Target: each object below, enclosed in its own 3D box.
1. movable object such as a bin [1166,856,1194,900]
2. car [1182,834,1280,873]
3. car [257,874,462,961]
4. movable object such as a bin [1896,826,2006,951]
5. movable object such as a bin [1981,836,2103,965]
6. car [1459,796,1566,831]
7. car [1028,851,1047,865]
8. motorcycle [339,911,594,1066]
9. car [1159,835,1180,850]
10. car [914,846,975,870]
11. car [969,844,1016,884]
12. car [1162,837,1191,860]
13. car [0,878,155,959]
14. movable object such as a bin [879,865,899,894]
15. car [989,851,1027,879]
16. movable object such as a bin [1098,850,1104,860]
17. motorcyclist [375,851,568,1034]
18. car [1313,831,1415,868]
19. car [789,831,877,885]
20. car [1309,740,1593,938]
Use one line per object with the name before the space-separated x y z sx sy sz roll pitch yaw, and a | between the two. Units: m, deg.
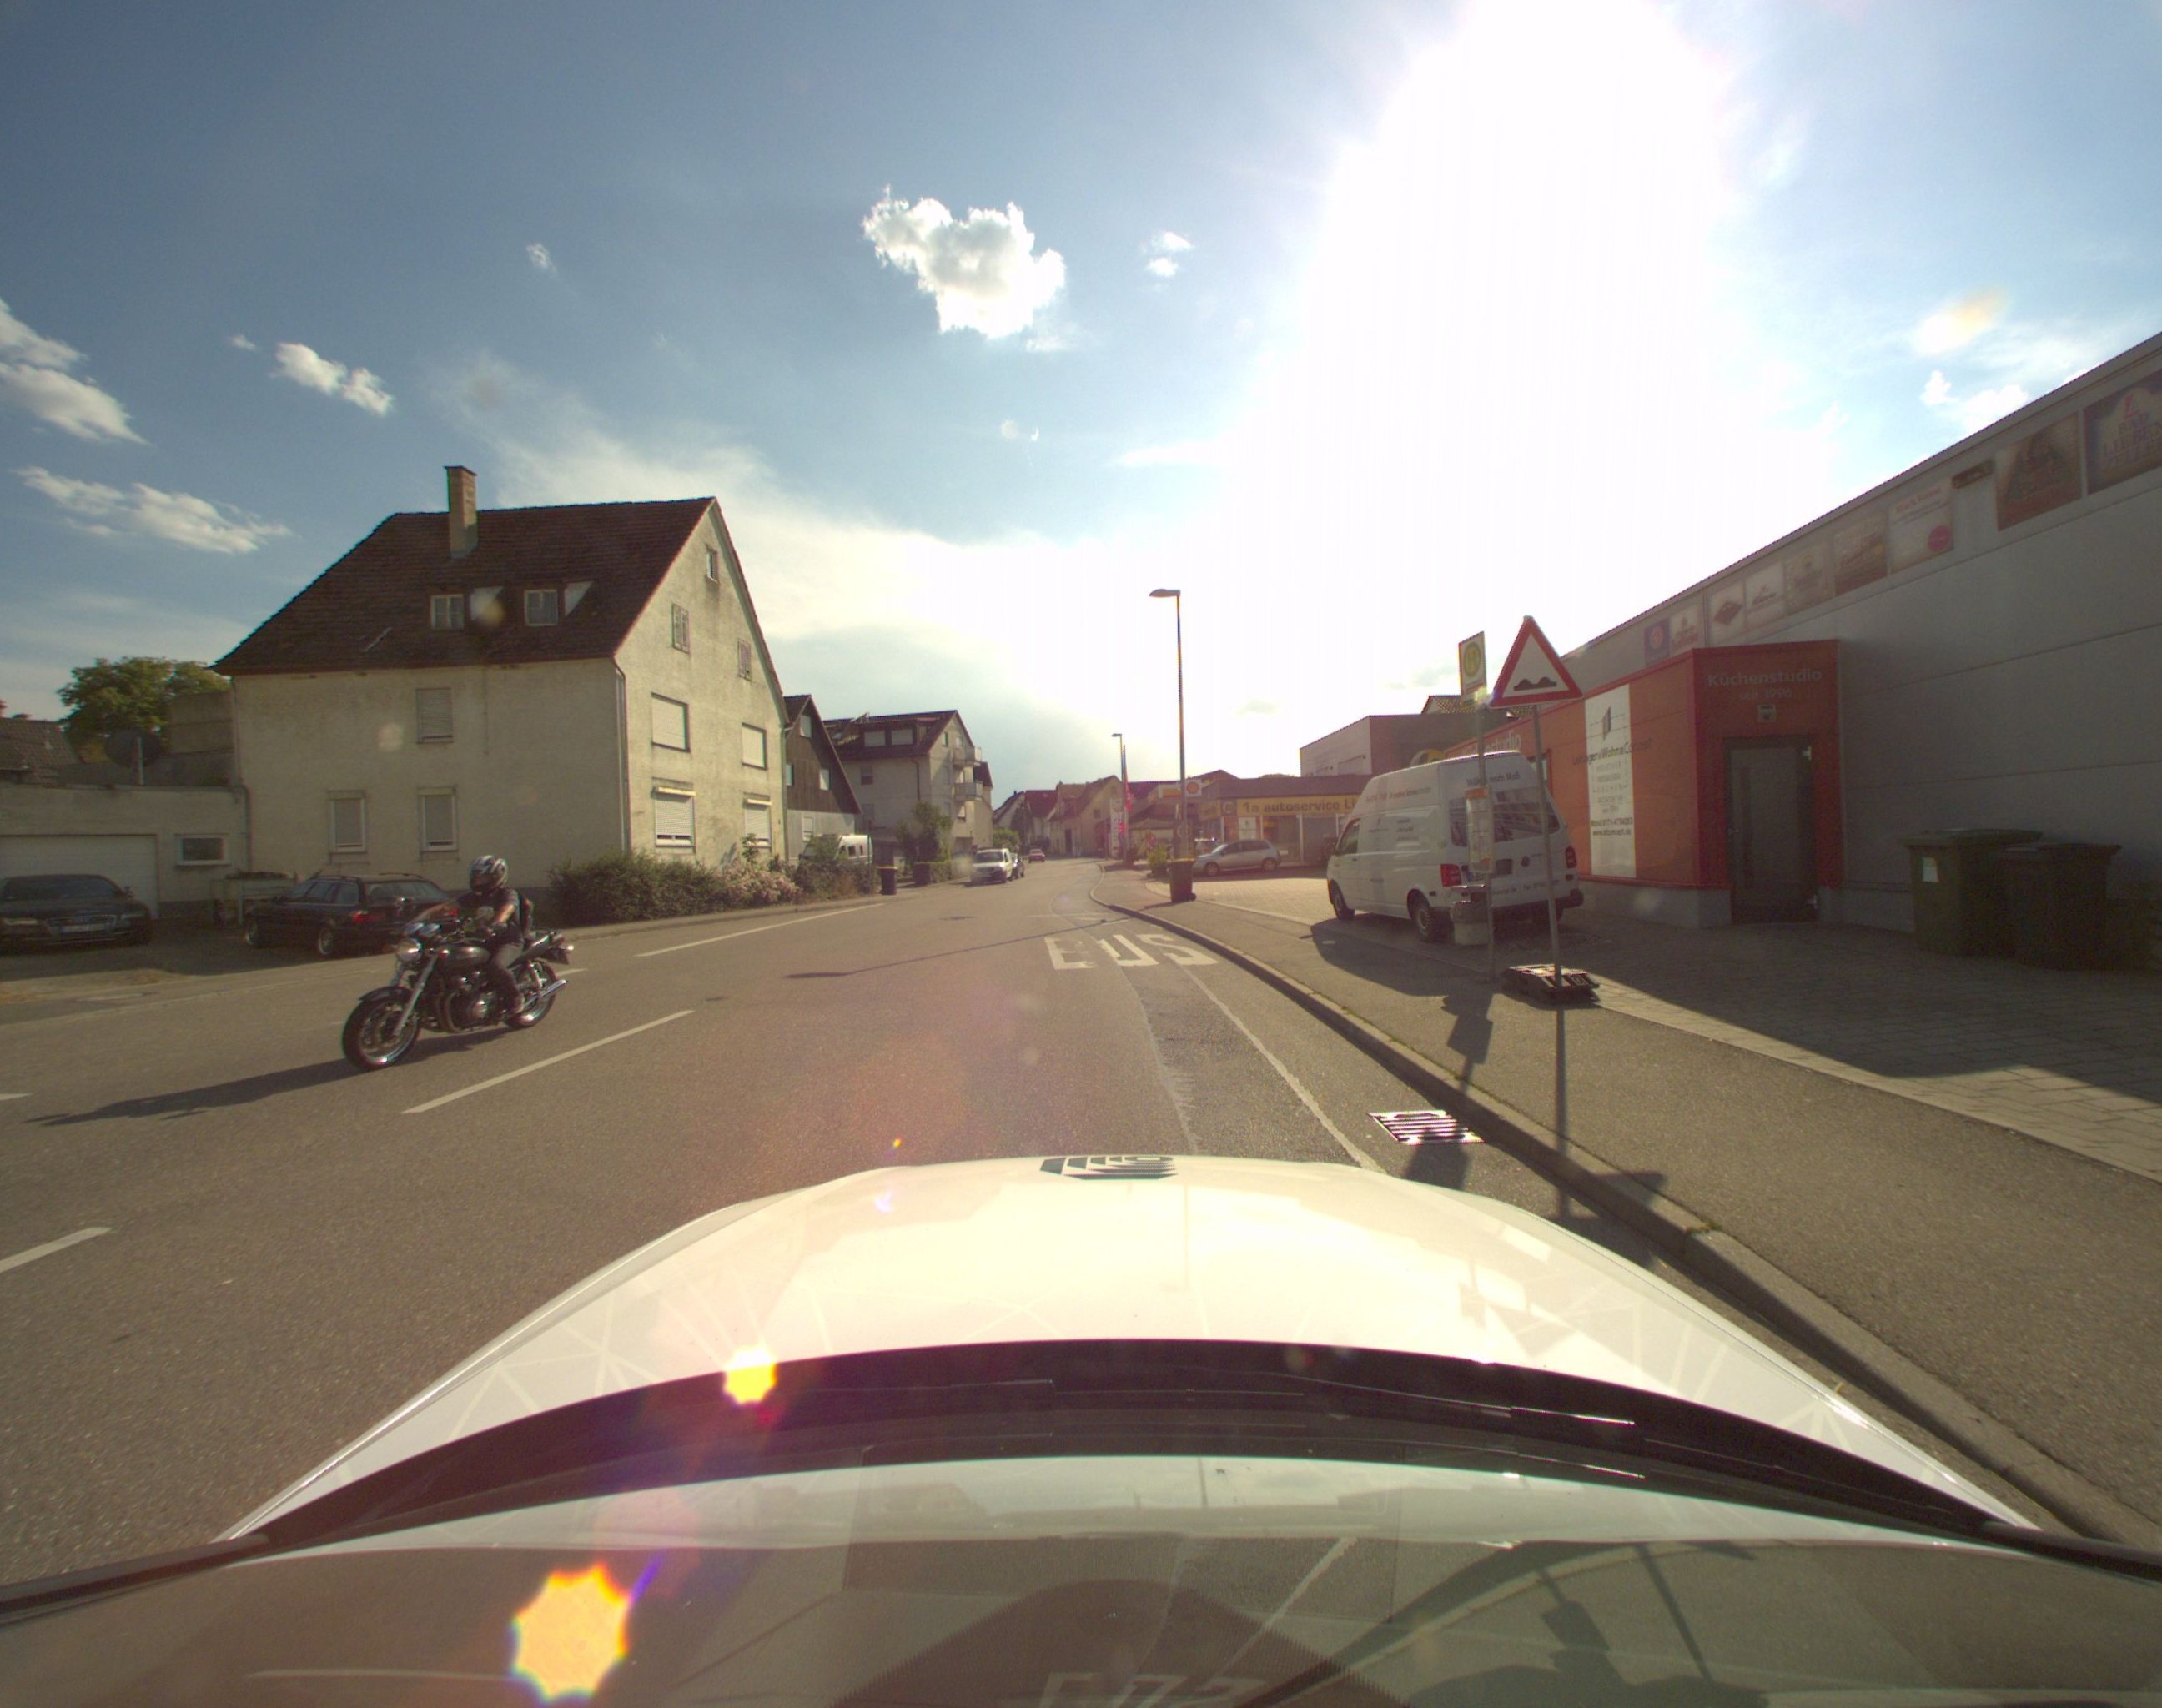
movable object such as a bin | 2.534 0.600 20.878 0.566 1.075 0.572 -3 0 -3
car | 6.659 -0.018 36.362 3.983 1.531 1.524 -3 0 -7
car | -13.972 1.132 15.743 3.949 1.433 1.663 -1 1 28
movable object such as a bin | 7.543 0.288 7.077 0.426 1.042 0.491 -2 0 9
movable object such as a bin | 7.522 0.352 6.387 0.426 0.966 0.431 -2 0 9
car | 19.235 -1.799 36.369 3.895 1.408 1.715 -2 2 -3
car | -4.967 0.493 92.303 1.709 1.434 3.768 -4 0 -10
motorcycle | -5.149 1.064 7.030 0.522 1.012 2.030 -1 0 5
car | 8.829 -1.117 81.213 1.573 1.427 4.380 -1 1 -1
car | -10.034 0.299 60.008 3.960 1.538 1.769 2 1 12
car | -4.547 0.485 42.209 1.710 1.872 4.194 -3 0 2
car | 7.148 -0.461 61.196 1.666 1.577 3.999 -3 1 1
car | -20.478 1.193 16.099 3.951 1.361 1.696 -1 1 23
movable object such as a bin | -7.385 0.974 31.303 0.608 1.101 0.576 -1 -1 1
car | -4.205 0.598 47.660 1.666 1.451 3.836 -3 0 2
movable object such as a bin | 2.259 0.098 92.117 0.651 1.073 0.512 -2 0 -3
motorcyclist | -5.149 0.700 6.952 0.798 1.436 1.038 -1 0 6
car | 12.520 -0.223 36.174 3.895 1.467 1.715 -2 2 -3
car | -12.891 0.144 42.866 2.147 2.595 6.104 -1 1 6
car | 5.332 -0.199 12.715 1.832 2.374 5.174 -3 0 -2
